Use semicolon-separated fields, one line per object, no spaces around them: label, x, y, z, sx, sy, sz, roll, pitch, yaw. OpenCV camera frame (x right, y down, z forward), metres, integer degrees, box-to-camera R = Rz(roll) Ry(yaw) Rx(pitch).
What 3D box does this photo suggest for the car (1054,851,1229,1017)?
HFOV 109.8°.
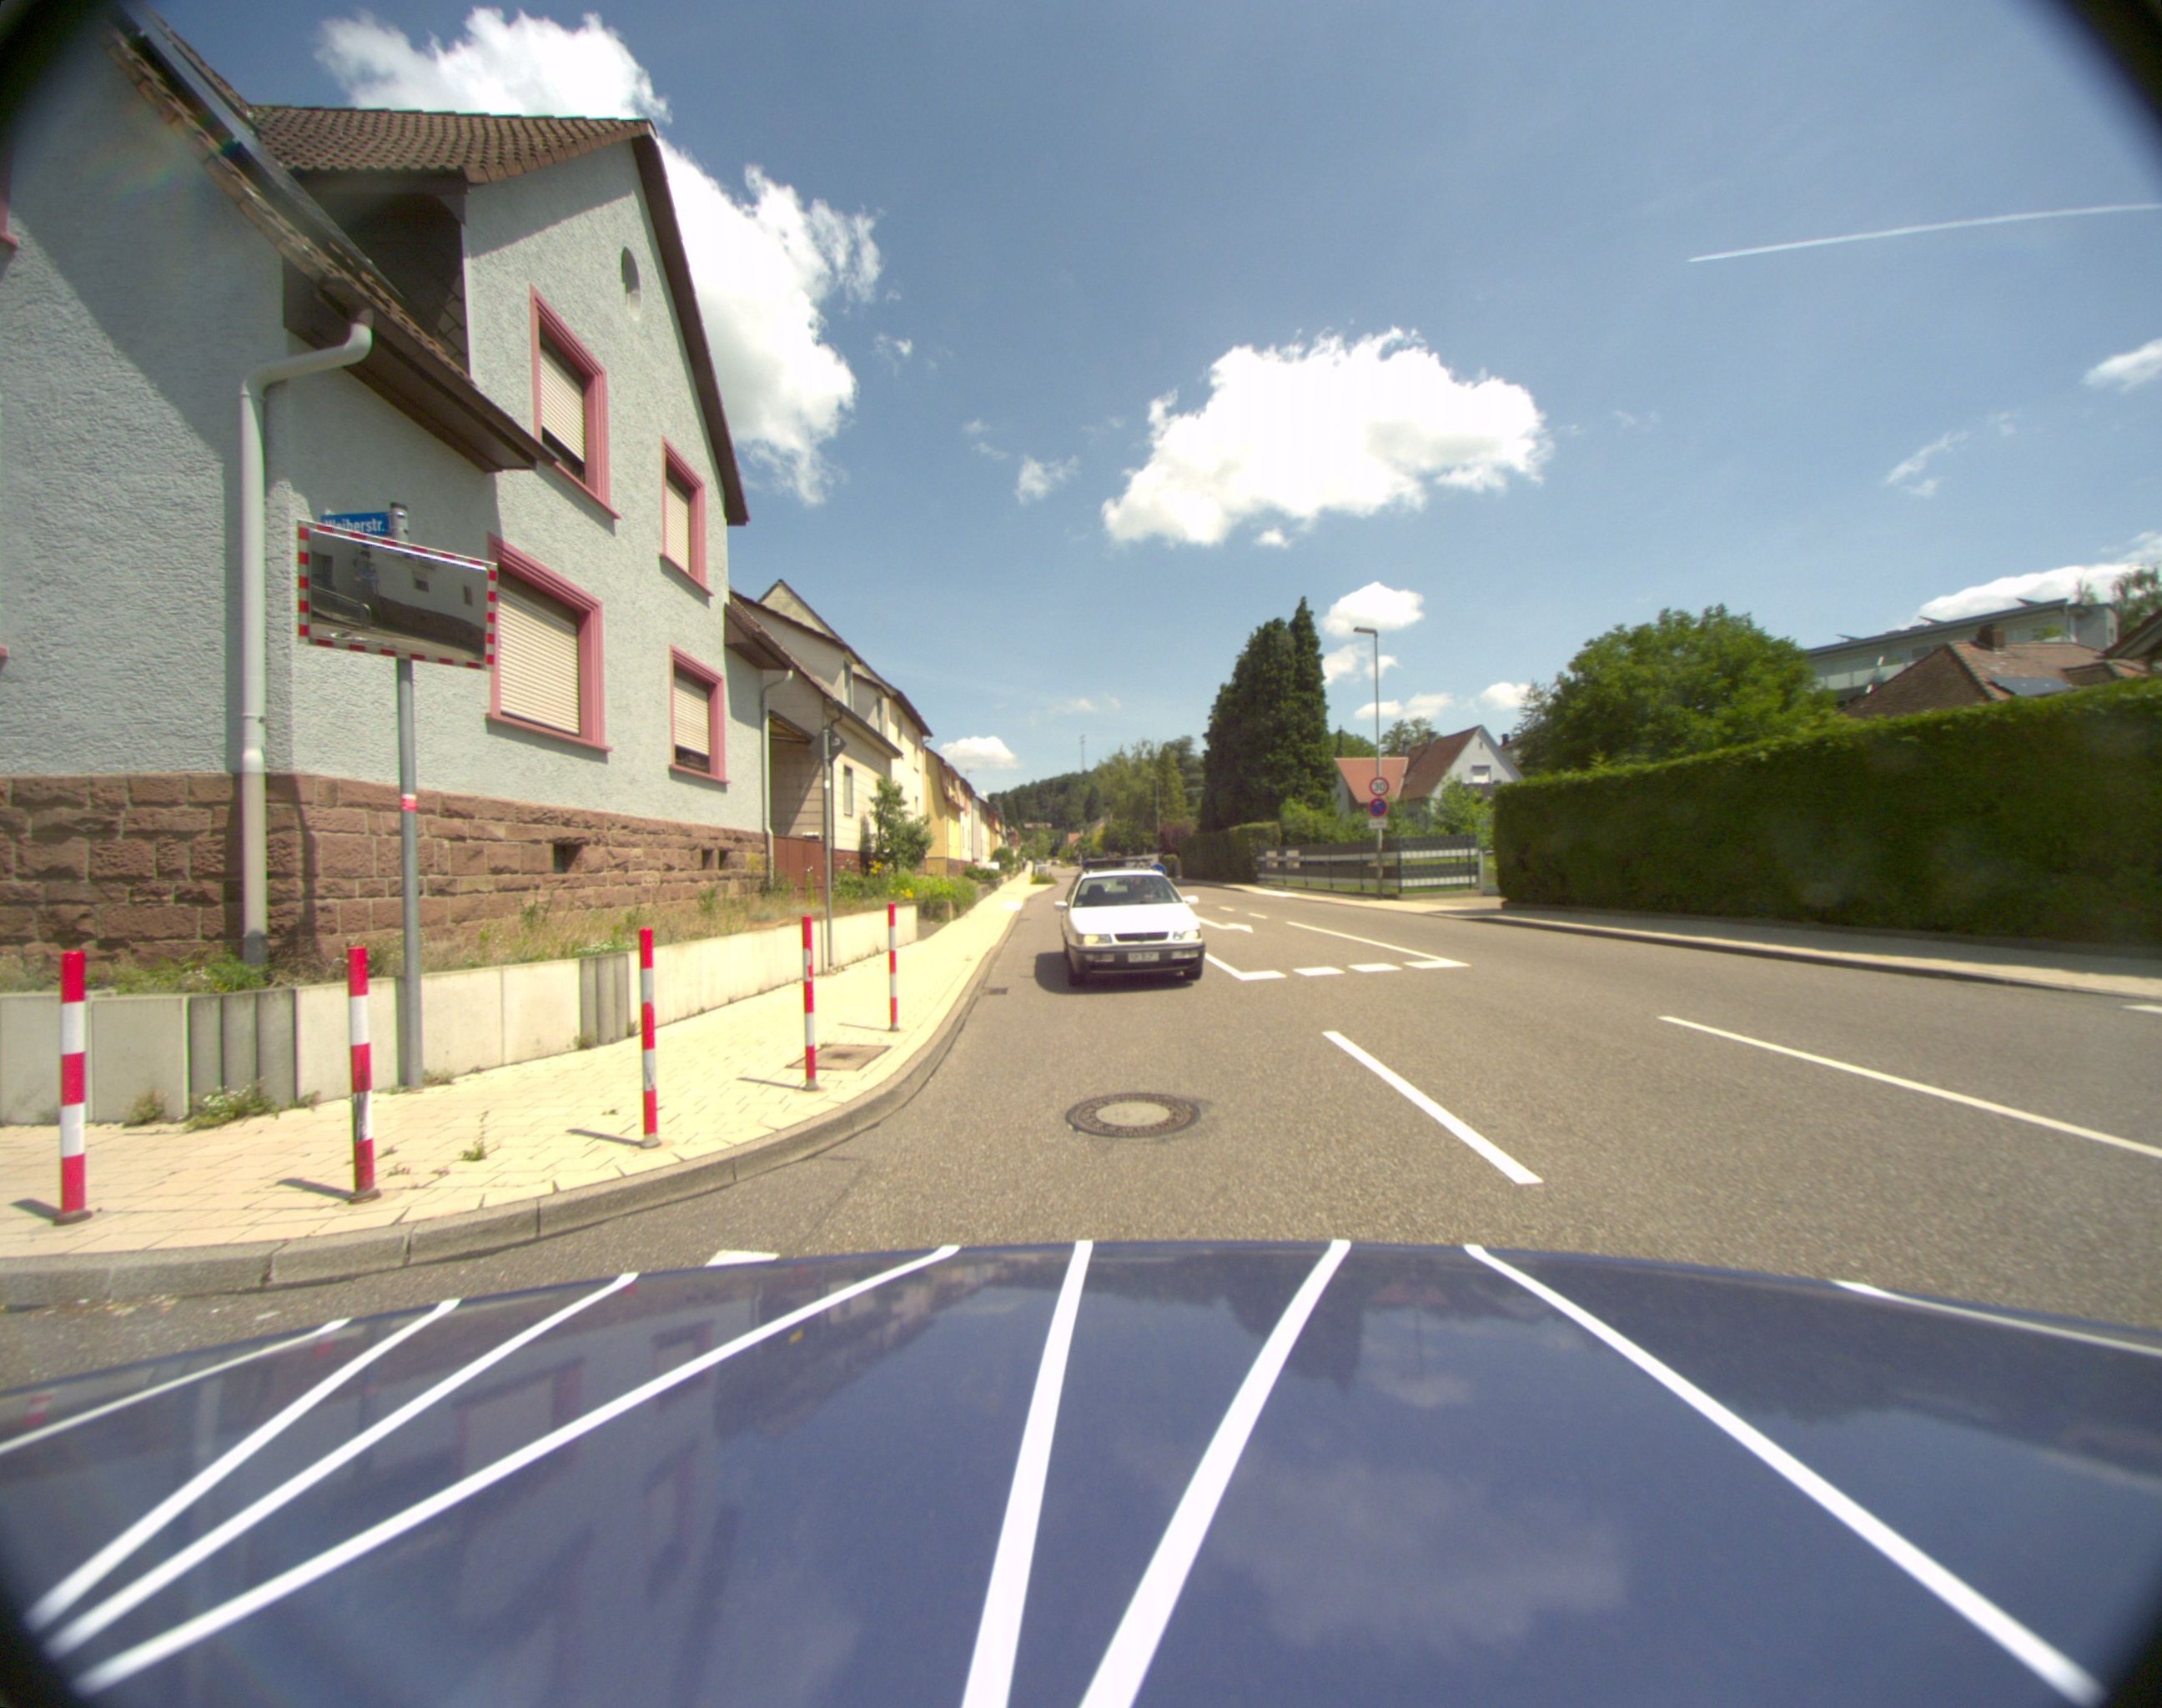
car;0.556;0.888;10.375;1.681;1.633;4.832;-3;-1;-3
